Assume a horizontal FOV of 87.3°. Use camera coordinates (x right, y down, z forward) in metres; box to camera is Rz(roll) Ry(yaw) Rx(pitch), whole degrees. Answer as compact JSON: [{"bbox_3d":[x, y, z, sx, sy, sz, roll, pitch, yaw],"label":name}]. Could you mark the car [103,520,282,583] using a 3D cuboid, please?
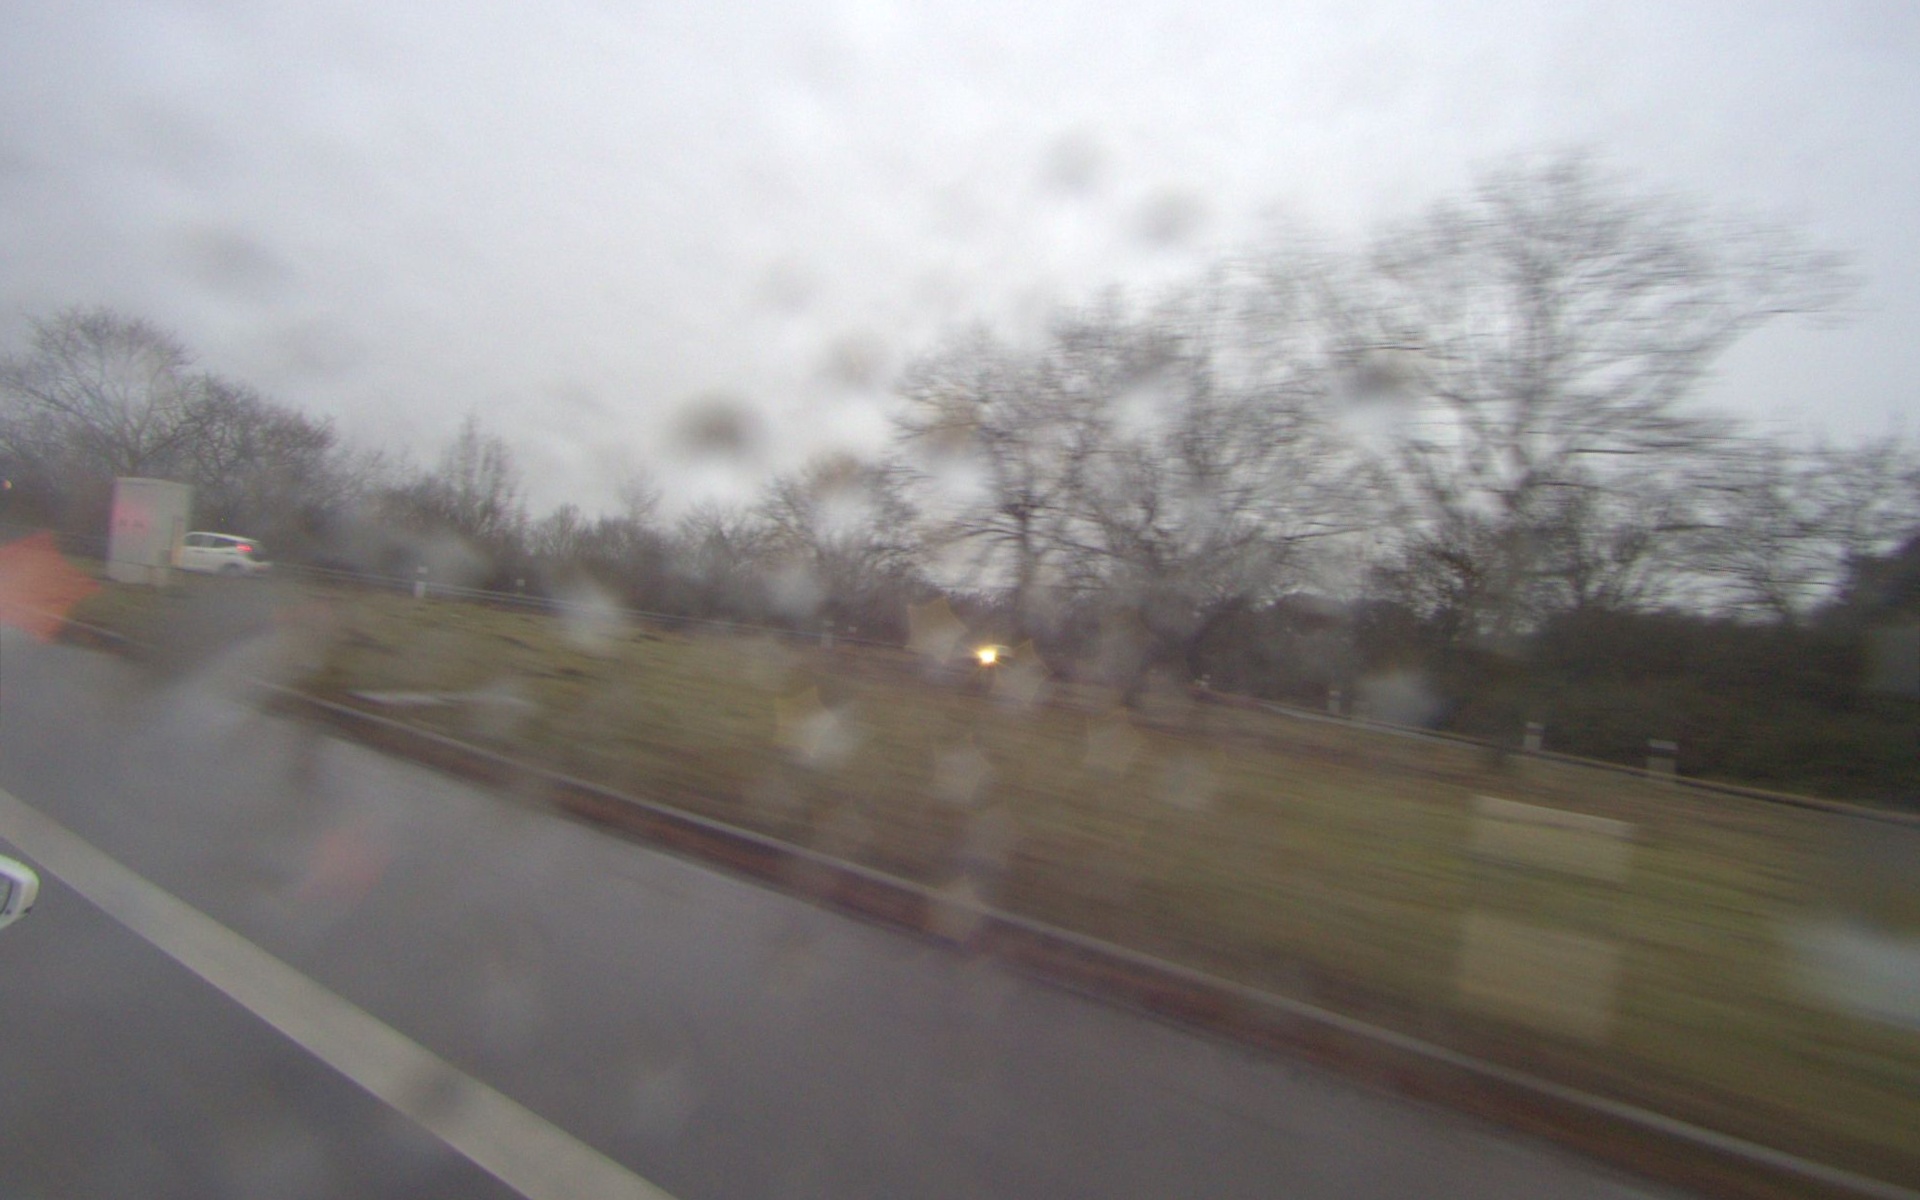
[{"bbox_3d":[-24.199,-1.479,31.889,3.941,1.361,1.993,8,-1,-17],"label":"car"}]
